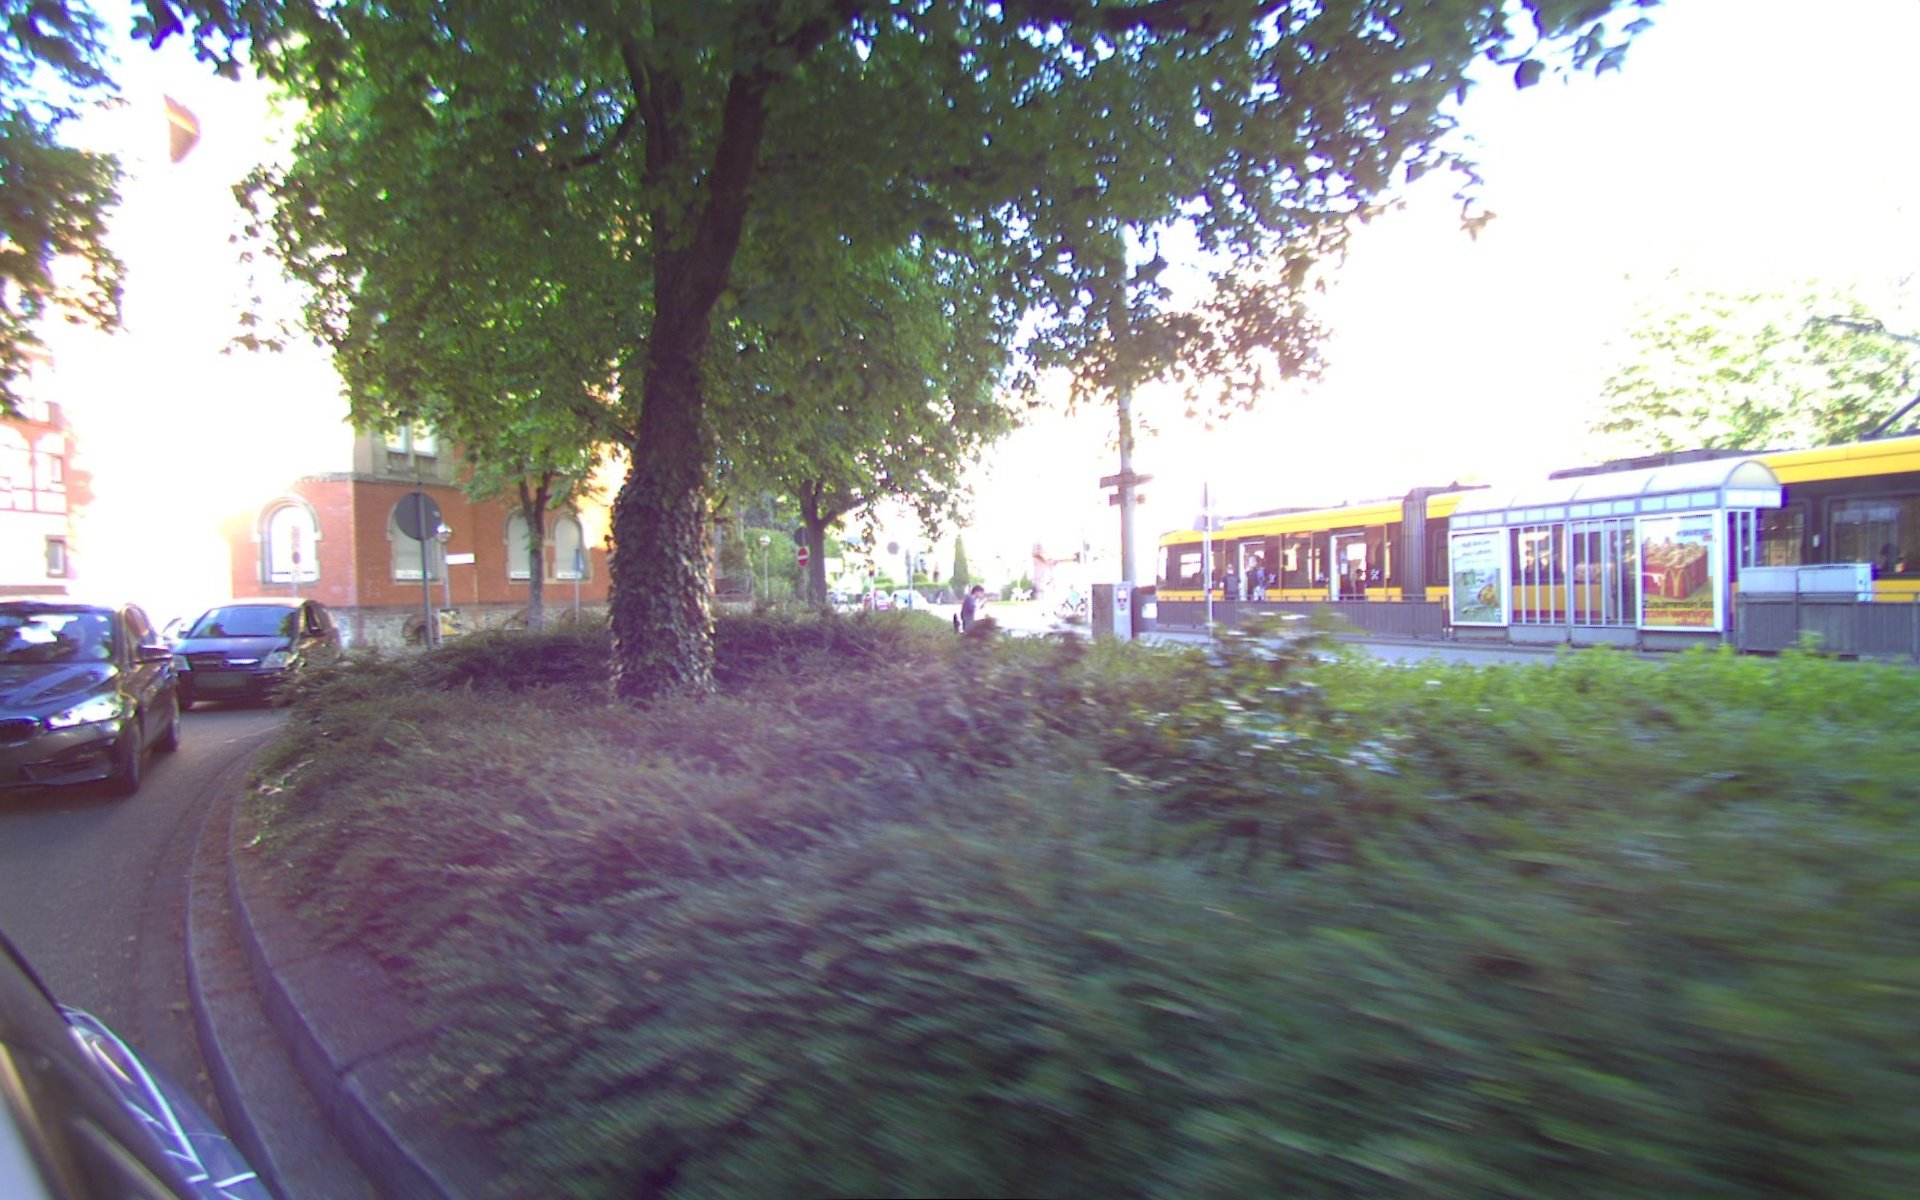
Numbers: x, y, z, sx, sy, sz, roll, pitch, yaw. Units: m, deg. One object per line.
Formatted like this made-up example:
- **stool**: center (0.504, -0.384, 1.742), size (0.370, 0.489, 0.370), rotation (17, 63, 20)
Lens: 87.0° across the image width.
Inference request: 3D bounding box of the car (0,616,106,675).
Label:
- **car**: center (-25.900, 1.247, 28.094), size (3.171, 1.551, 1.492), rotation (-1, 0, 1)

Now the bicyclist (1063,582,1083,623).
- **bicyclist**: center (4.418, 0.113, 39.625), size (0.588, 1.585, 0.557), rotation (-1, 0, -17)

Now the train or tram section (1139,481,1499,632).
- **train or tram section**: center (9.819, -1.060, 30.463), size (2.726, 3.584, 12.722), rotation (-2, 1, -19)

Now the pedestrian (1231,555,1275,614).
- **pedestrian**: center (8.628, -0.452, 29.804), size (0.890, 1.647, 0.727), rotation (-4, 1, -14)

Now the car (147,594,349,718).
- **car**: center (-10.853, 0.767, 15.709), size (1.652, 1.640, 3.700), rotation (-2, 0, -21)

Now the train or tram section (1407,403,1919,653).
- **train or tram section**: center (14.010, -1.078, 18.573), size (2.738, 3.614, 12.460), rotation (-2, 1, -19)

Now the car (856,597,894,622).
- **car**: center (-5.648, 0.615, 67.021), size (1.707, 1.427, 4.012), rotation (-2, 2, -16)

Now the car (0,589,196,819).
- **car**: center (-7.968, 0.744, 8.701), size (1.764, 1.590, 4.273), rotation (-1, 0, -31)

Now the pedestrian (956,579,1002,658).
- **pedestrian**: center (0.353, 0.333, 19.194), size (0.699, 1.454, 0.602), rotation (-2, 1, -13)

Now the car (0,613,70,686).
- **car**: center (-22.937, 1.163, 22.995), size (3.997, 1.564, 1.695), rotation (-2, 0, 2)

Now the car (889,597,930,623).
- **car**: center (-3.009, 0.559, 59.163), size (1.708, 1.428, 4.010), rotation (-2, 0, -12)

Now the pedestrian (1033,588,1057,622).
- **pedestrian**: center (4.204, 0.249, 50.205), size (0.725, 1.647, 0.893), rotation (-3, 1, 39)
